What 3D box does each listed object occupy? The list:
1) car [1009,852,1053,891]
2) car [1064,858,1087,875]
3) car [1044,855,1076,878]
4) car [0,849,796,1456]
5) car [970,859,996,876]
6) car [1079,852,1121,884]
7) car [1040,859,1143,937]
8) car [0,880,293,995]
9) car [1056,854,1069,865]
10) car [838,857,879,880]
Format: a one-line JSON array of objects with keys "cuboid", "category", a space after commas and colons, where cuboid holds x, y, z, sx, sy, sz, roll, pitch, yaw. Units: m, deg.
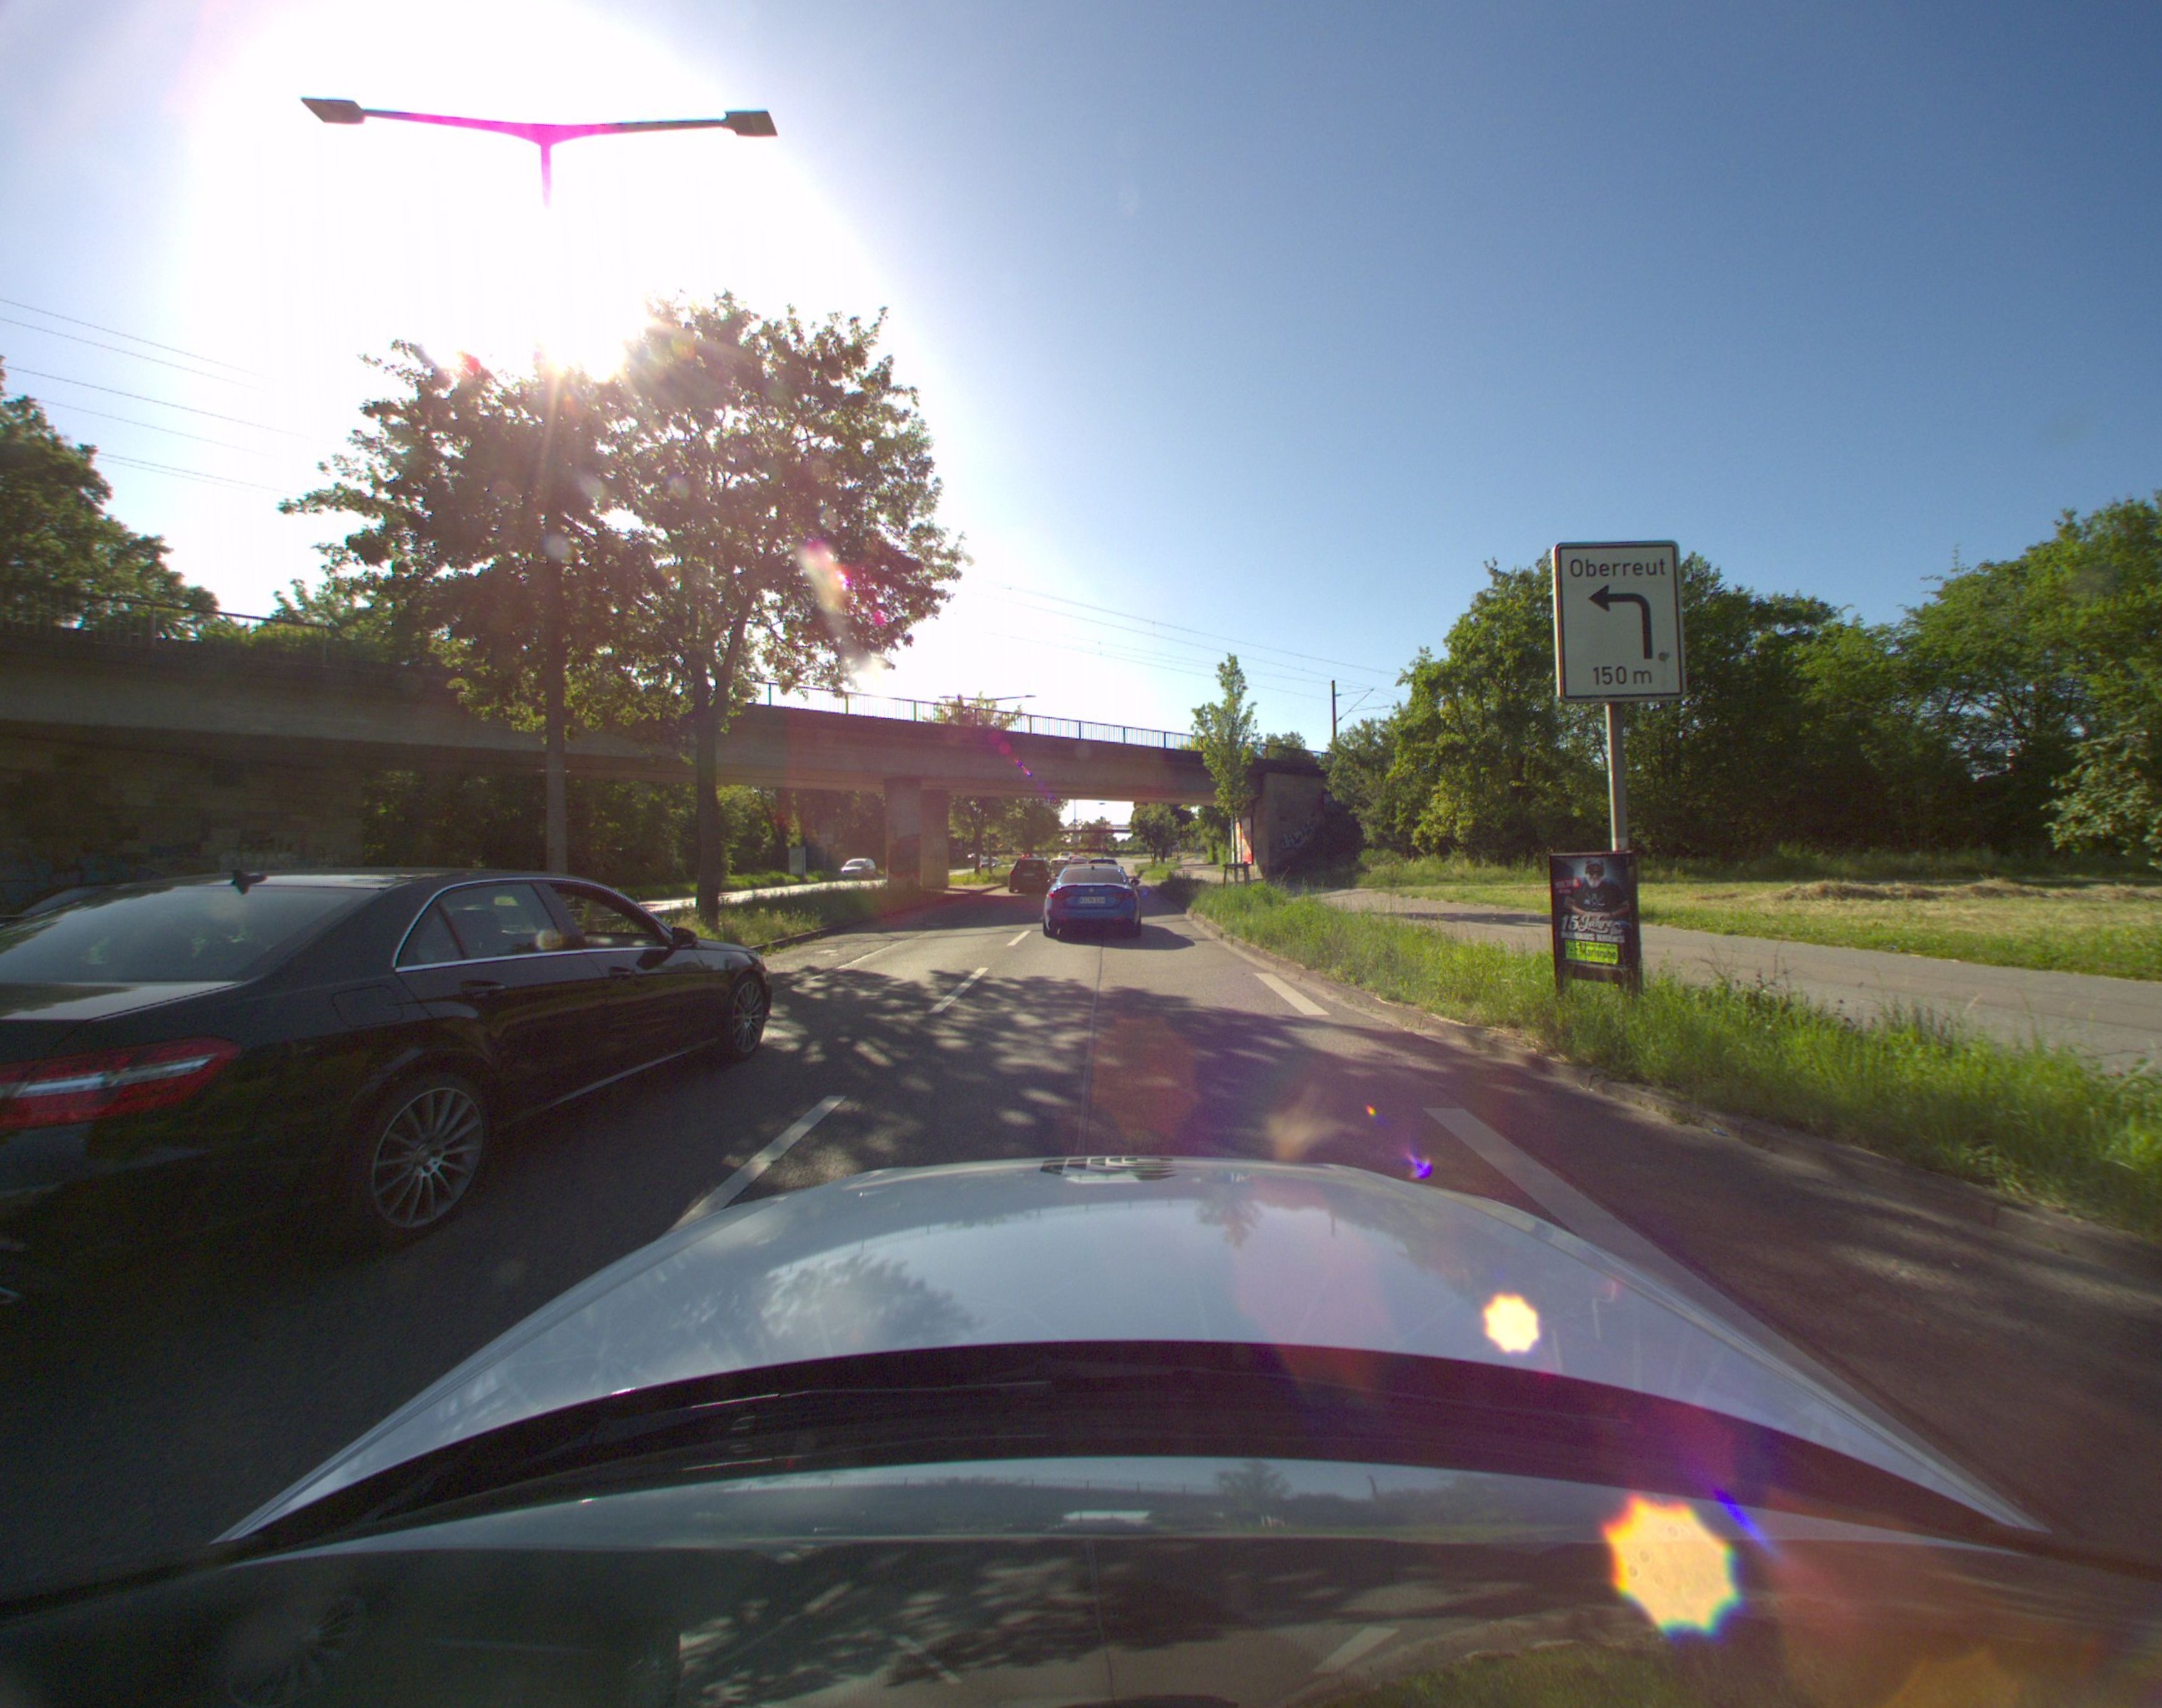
[{"cuboid": [-2.114, 0.739, 35.455, 1.703, 1.598, 4.222, 1, 0, -1], "category": "car"}, {"cuboid": [-0.454, 1.128, 72.628, 1.876, 1.454, 4.528, 1, 0, 2], "category": "car"}, {"cuboid": [-1.367, 0.823, 55.174, 1.876, 1.454, 4.528, 1, 0, 2], "category": "car"}, {"cuboid": [-3.498, 0.742, 4.445, 1.951, 1.483, 4.921, 0, 0, 3], "category": "car"}, {"cuboid": [-9.761, 1.342, 81.358, 1.835, 1.543, 4.002, -4, -1, 2], "category": "car"}, {"cuboid": [0.952, 0.650, 38.908, 1.876, 1.454, 4.528, 1, 0, 2], "category": "car"}, {"cuboid": [0.275, 0.821, 16.982, 1.876, 1.406, 4.226, 1, 0, 2], "category": "car"}, {"cuboid": [-15.237, 1.195, 12.703, 1.809, 1.442, 4.091, -1, -1, 2], "category": "car"}, {"cuboid": [-3.199, 0.999, 144.852, 1.986, 1.929, 5.248, -1, -1, 2], "category": "car"}, {"cuboid": [-16.690, 1.097, 61.376, 1.722, 1.617, 4.182, -2, -1, 2], "category": "car"}]
